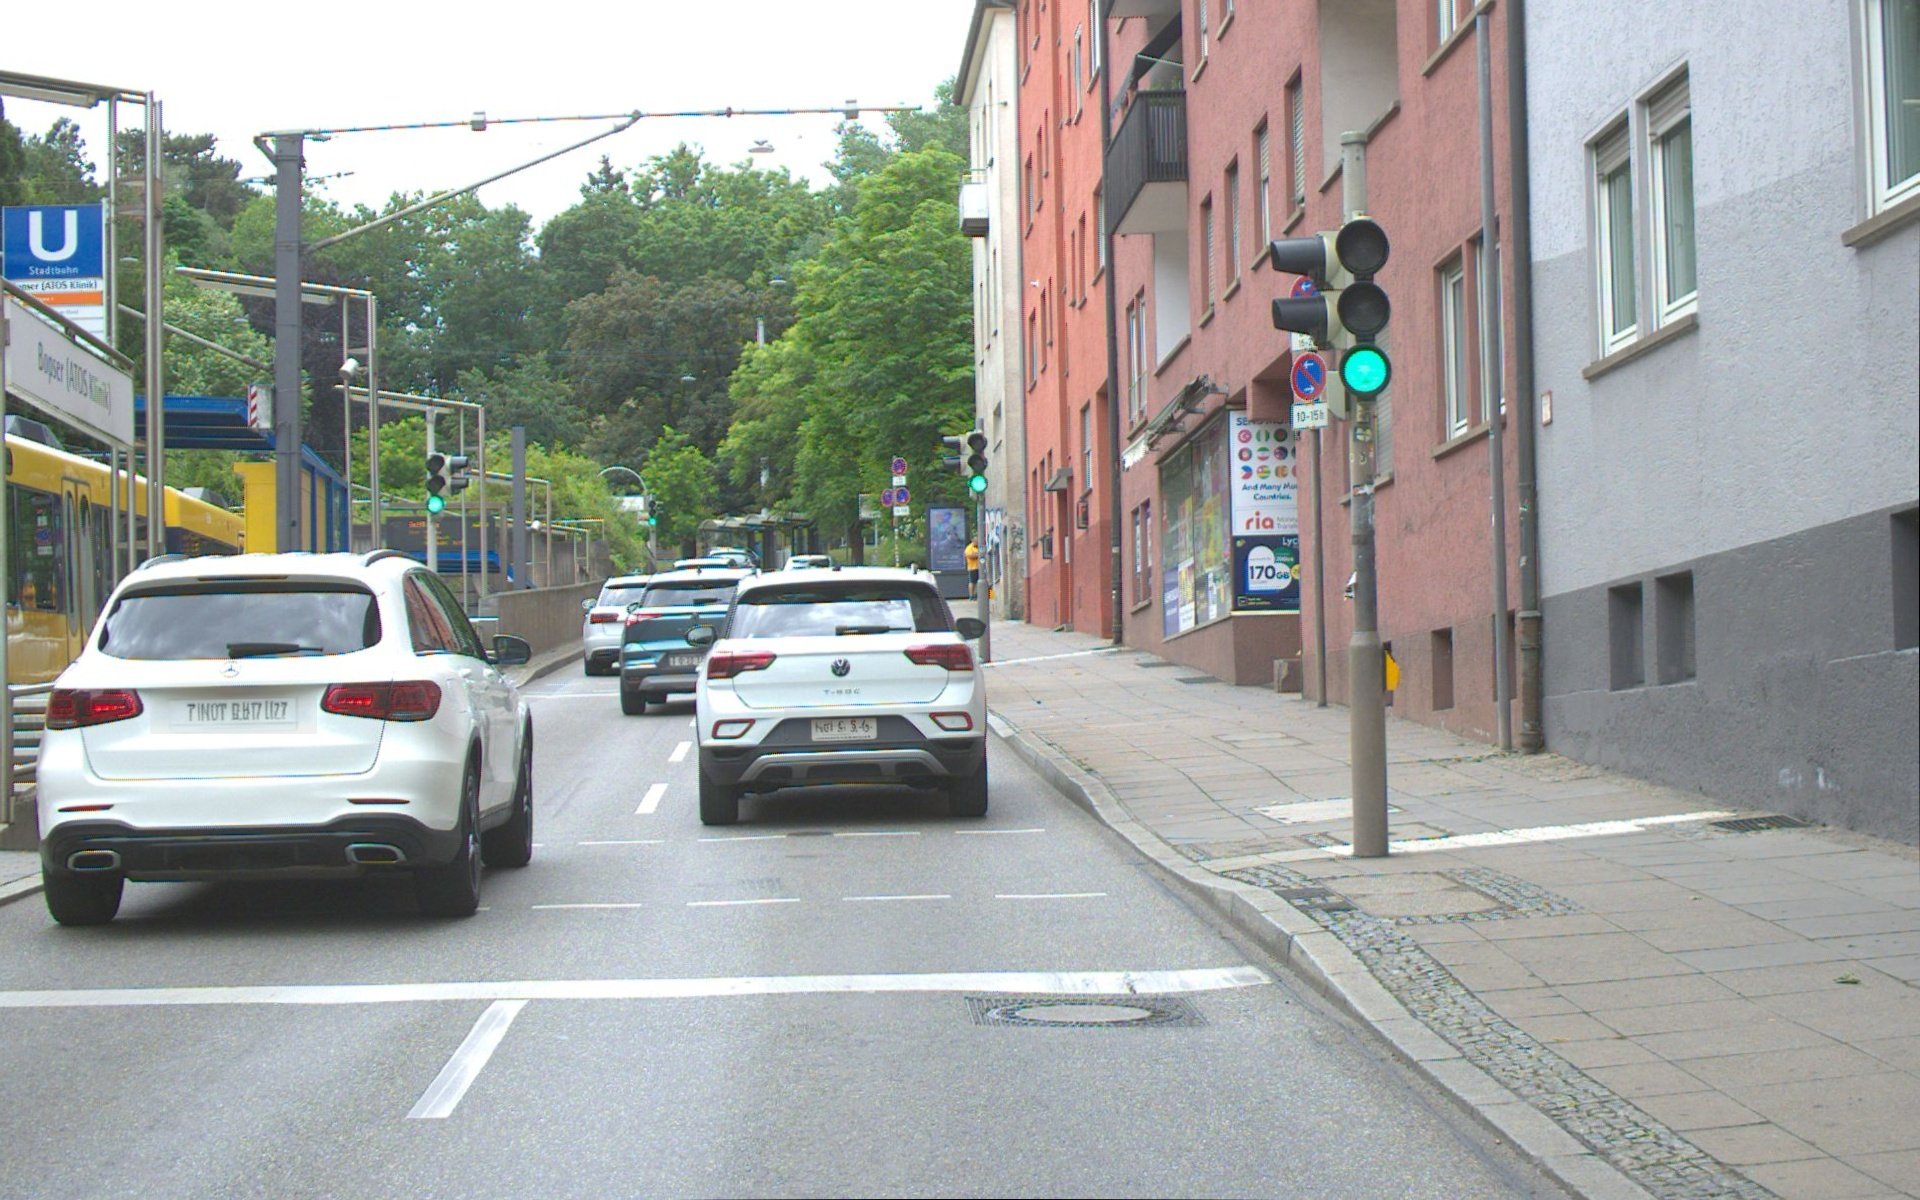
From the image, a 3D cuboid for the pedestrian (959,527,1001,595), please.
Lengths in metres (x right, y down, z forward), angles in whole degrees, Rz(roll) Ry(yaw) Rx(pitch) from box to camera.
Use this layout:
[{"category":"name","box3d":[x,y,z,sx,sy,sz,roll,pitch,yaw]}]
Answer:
[{"category":"pedestrian","box3d":[0.514,-1.009,89.064,0.833,1.706,0.822,-3,1,-16]}]

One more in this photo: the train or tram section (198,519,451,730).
[{"category":"train or tram section","box3d":[-11.753,0.460,64.920,2.949,3.497,12.987,-1,0,-3]}]

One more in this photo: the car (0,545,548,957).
[{"category":"car","box3d":[-3.123,0.588,16.356,1.877,1.646,4.342,0,1,-1]}]

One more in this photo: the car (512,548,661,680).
[{"category":"car","box3d":[-5.600,0.177,51.935,1.993,1.875,4.001,0,1,-3]}]

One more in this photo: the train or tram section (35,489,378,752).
[{"category":"train or tram section","box3d":[-11.155,0.385,52.317,2.949,3.472,12.219,-1,-1,-2]}]

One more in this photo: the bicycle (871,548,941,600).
[{"category":"bicycle","box3d":[-1.288,-0.610,82.006,0.639,1.139,2.065,-11,5,-28]}]

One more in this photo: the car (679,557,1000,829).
[{"category":"car","box3d":[-0.743,0.518,22.024,1.864,1.550,3.895,0,1,-1]}]

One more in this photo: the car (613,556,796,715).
[{"category":"car","box3d":[-2.801,0.350,38.407,1.860,1.626,3.960,-1,1,-2]}]

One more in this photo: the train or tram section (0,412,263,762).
[{"category":"train or tram section","box3d":[-10.644,0.129,40.135,2.949,3.460,12.218,-1,-2,-2]}]

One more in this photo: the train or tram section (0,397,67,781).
[{"category":"train or tram section","box3d":[-10.147,-0.163,28.044,2.949,3.531,12.398,-1,-1,-2]}]
